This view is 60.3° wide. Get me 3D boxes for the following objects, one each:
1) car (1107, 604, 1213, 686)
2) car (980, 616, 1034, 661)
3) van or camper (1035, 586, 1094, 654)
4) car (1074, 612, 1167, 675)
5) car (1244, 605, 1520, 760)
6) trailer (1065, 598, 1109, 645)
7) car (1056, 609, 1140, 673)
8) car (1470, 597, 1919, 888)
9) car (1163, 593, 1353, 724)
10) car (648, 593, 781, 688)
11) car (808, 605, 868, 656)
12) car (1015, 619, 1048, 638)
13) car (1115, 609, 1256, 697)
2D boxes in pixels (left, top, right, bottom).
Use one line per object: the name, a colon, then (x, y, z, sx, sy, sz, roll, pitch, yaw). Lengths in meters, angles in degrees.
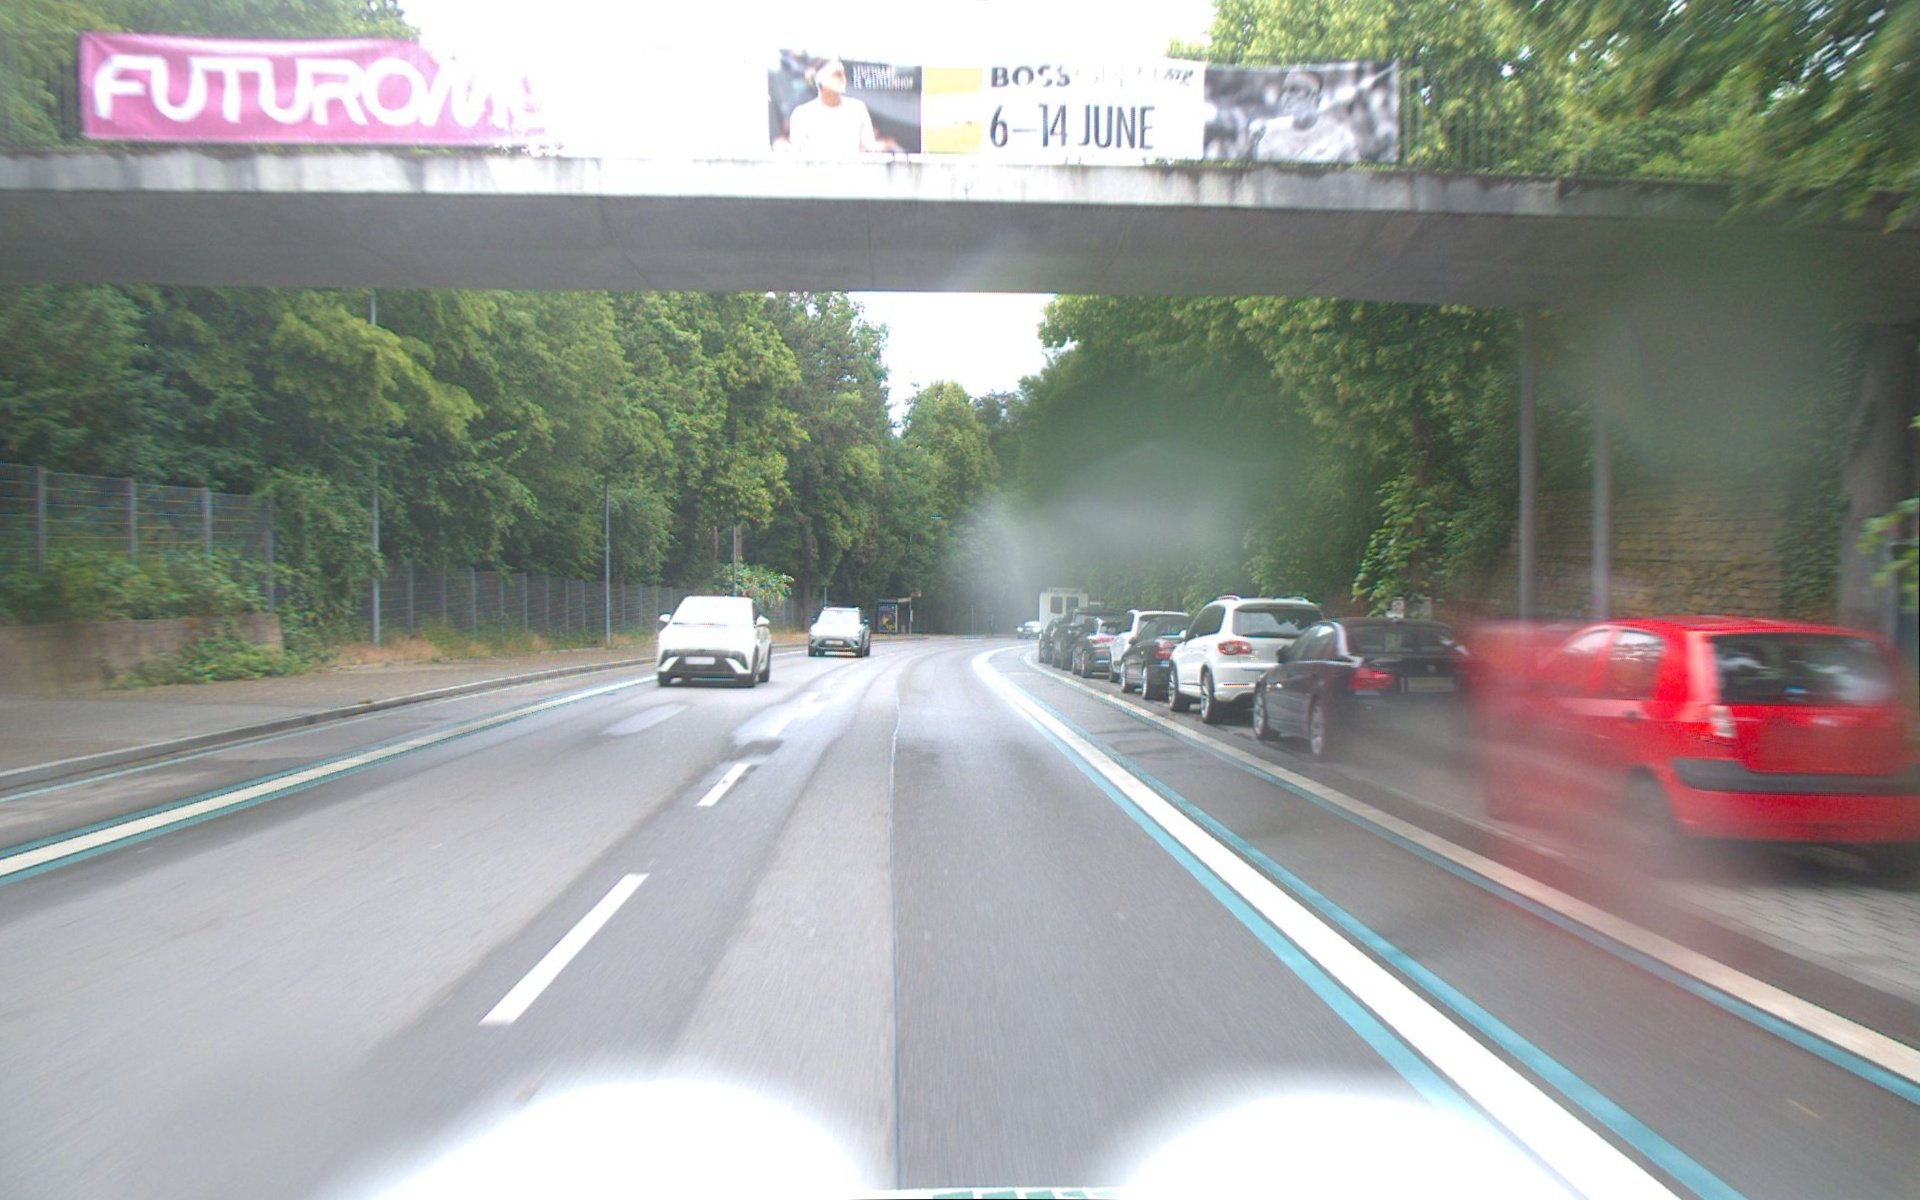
car: (4.077, 0.904, 34.205, 1.628, 1.562, 3.740, 2, -1, -2)
car: (1.499, 1.268, 53.794, 1.644, 1.400, 3.999, 1, -2, 0)
van or camper: (4.498, 0.843, 70.177, 2.268, 2.711, 6.385, 1, -1, 5)
car: (3.741, 1.019, 39.184, 1.738, 1.372, 4.465, 1, -1, 0)
car: (4.308, 0.811, 17.580, 1.639, 1.418, 4.448, 1, -1, -2)
trailer: (7.646, 1.300, 99.068, 2.267, 2.719, 5.380, 1, -1, 8)
car: (3.792, 1.165, 46.087, 1.953, 1.674, 4.347, 1, -2, 0)
car: (4.715, 0.781, 10.845, 1.527, 1.492, 3.625, 1, 1, -1)
car: (4.052, 0.770, 23.172, 1.679, 1.647, 4.258, 1, -1, -3)
car: (-4.335, 0.681, 29.770, 1.932, 1.579, 3.868, 1, 0, -2)
car: (-4.039, 1.019, 55.329, 1.760, 1.604, 4.101, 1, -1, -1)
car: (5.646, 2.226, 130.070, 1.723, 1.462, 4.153, 1, -1, 15)
car: (3.881, 0.935, 29.140, 1.683, 1.400, 4.556, 1, -2, -2)
